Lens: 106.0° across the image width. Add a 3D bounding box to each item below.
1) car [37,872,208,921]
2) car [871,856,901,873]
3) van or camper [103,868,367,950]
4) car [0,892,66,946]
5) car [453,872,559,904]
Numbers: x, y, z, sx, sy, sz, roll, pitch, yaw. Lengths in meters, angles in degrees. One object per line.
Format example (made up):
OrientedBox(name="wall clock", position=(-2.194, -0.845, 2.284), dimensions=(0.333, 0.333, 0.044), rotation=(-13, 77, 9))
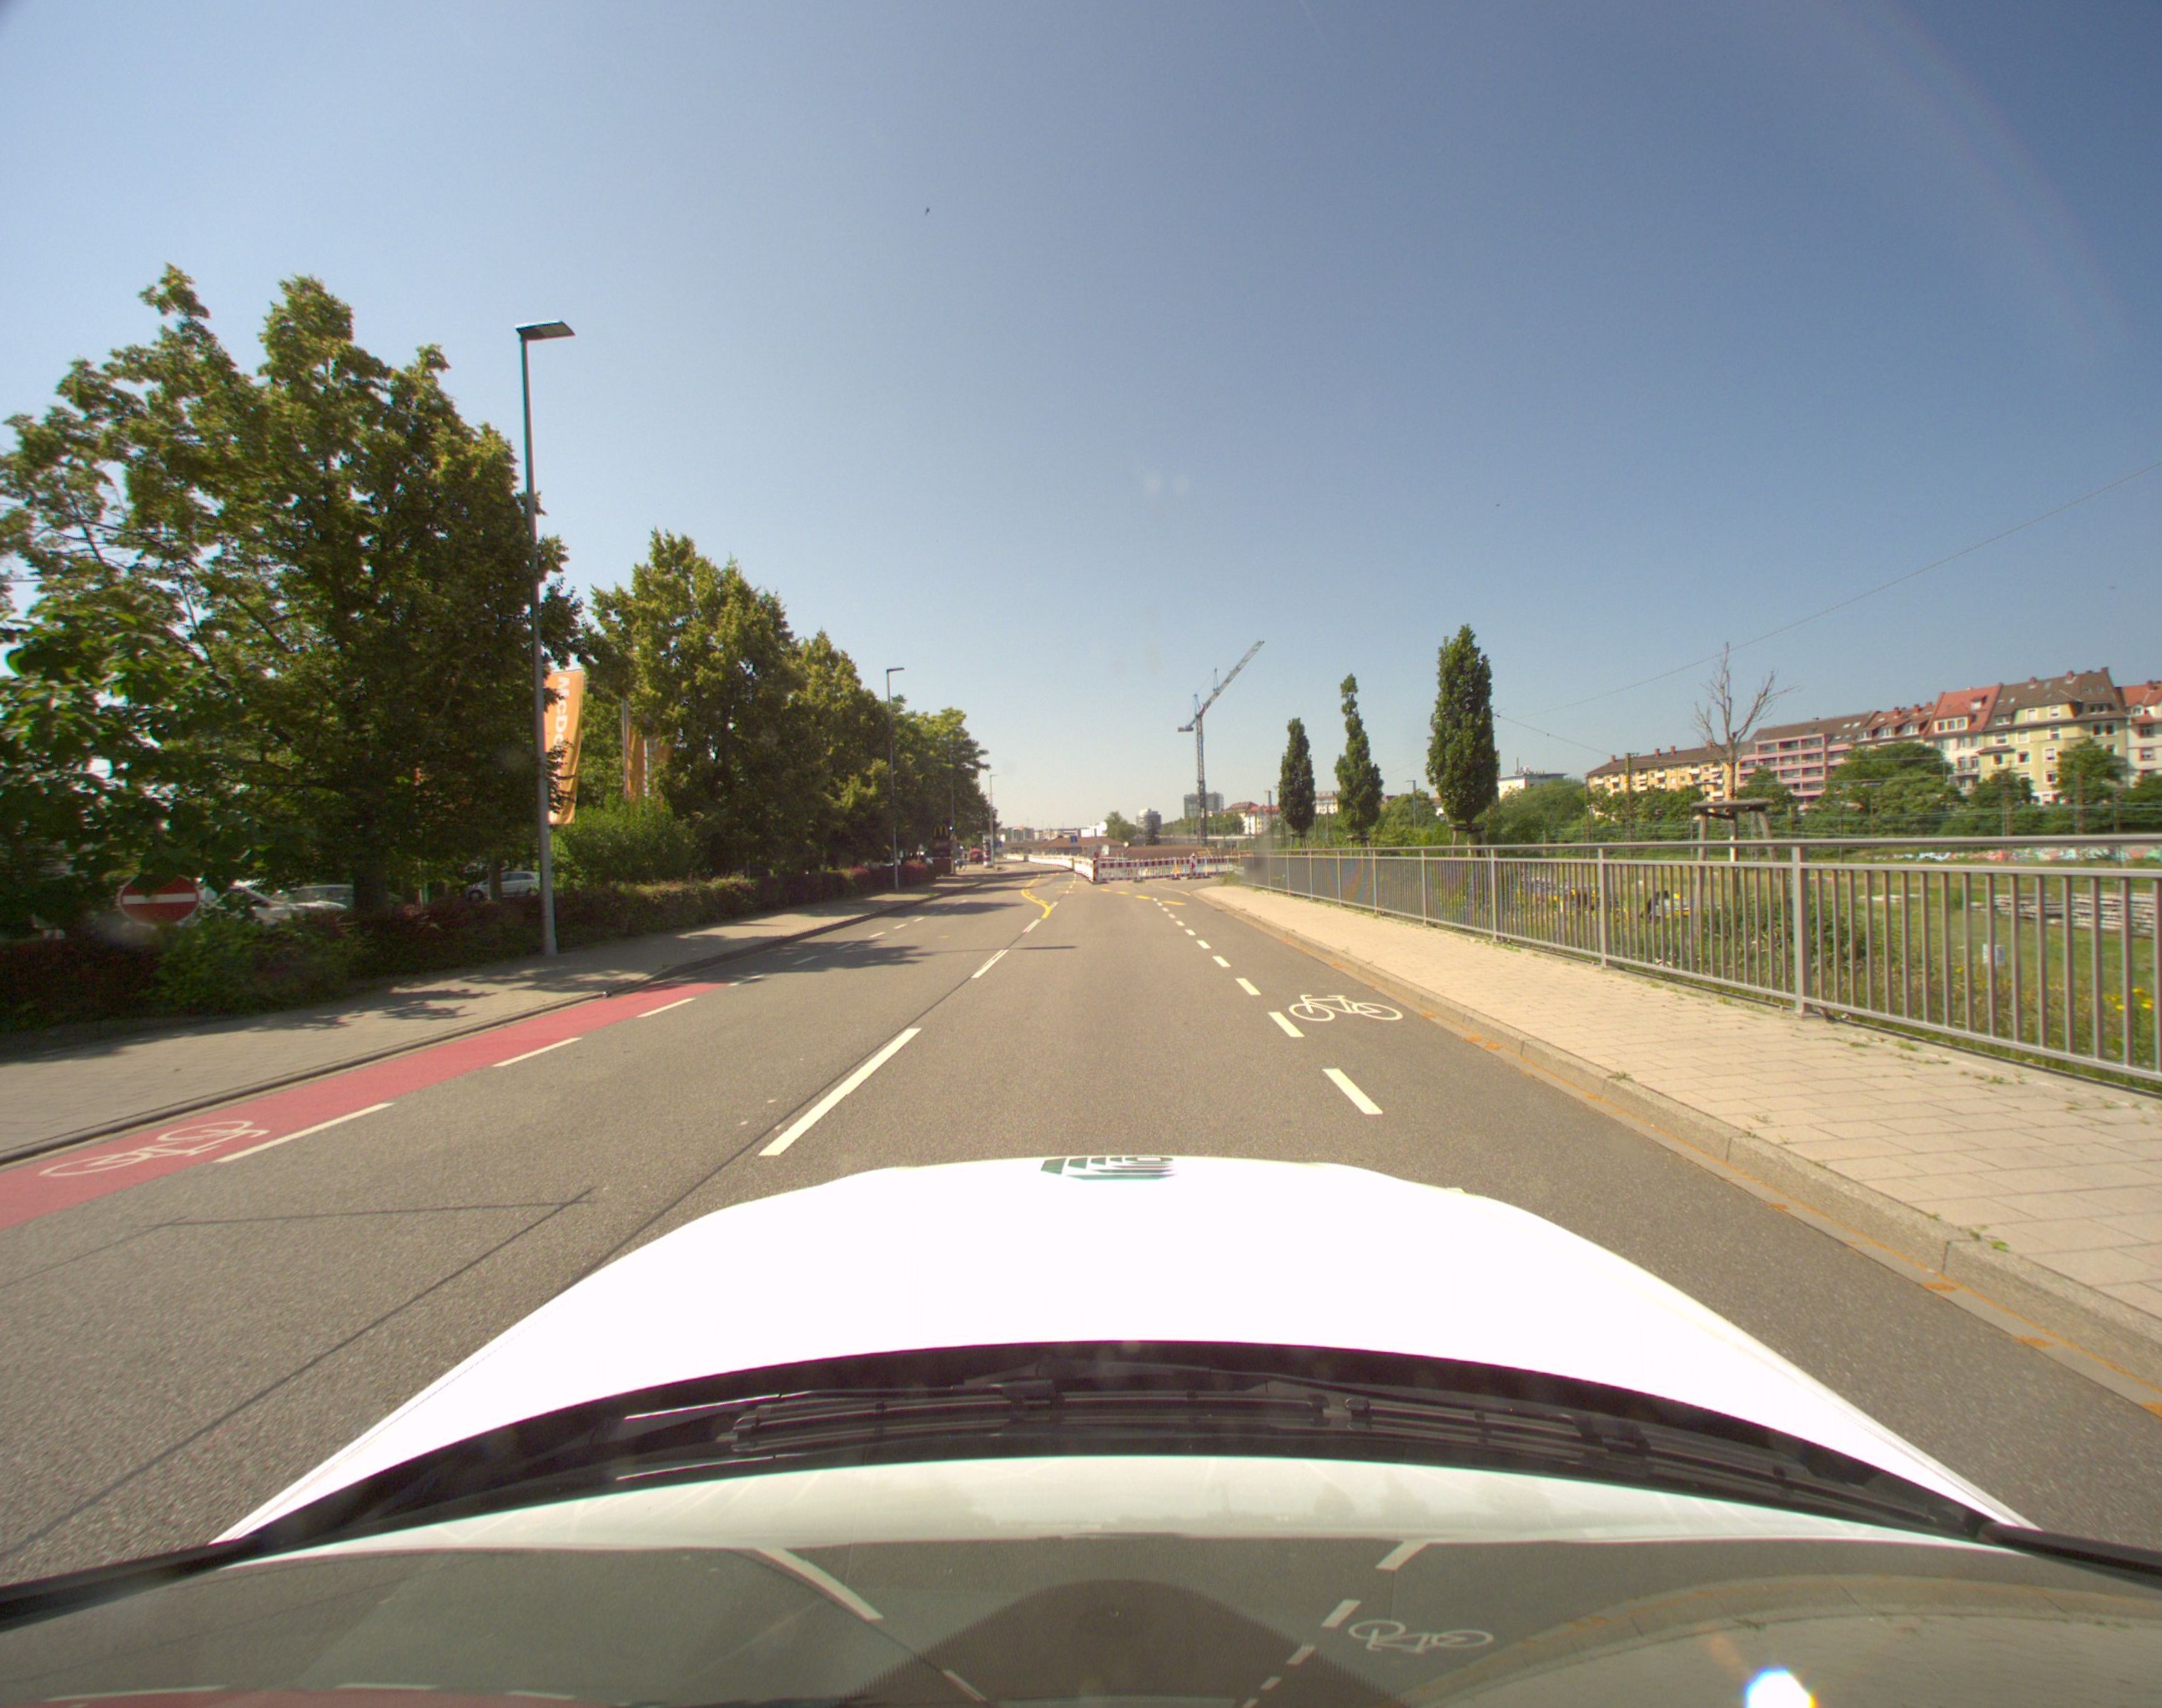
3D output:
OrientedBox(name="car", position=(-37.122, 1.604, 31.644), dimensions=(3.988, 1.598, 1.792), rotation=(-3, 0, -10))
OrientedBox(name="car", position=(-24.088, 1.331, 100.678), dimensions=(2.010, 1.903, 3.953), rotation=(-2, 0, -40))
OrientedBox(name="van or camper", position=(-21.855, 1.353, 21.283), dimensions=(4.279, 1.740, 1.989), rotation=(-3, 0, -16))
OrientedBox(name="car", position=(-33.573, 2.021, 25.649), dimensions=(3.389, 1.526, 1.511), rotation=(-2, 0, 31))
OrientedBox(name="car", position=(-31.564, 1.851, 44.855), dimensions=(4.279, 1.438, 1.989), rotation=(-3, 0, -16))
